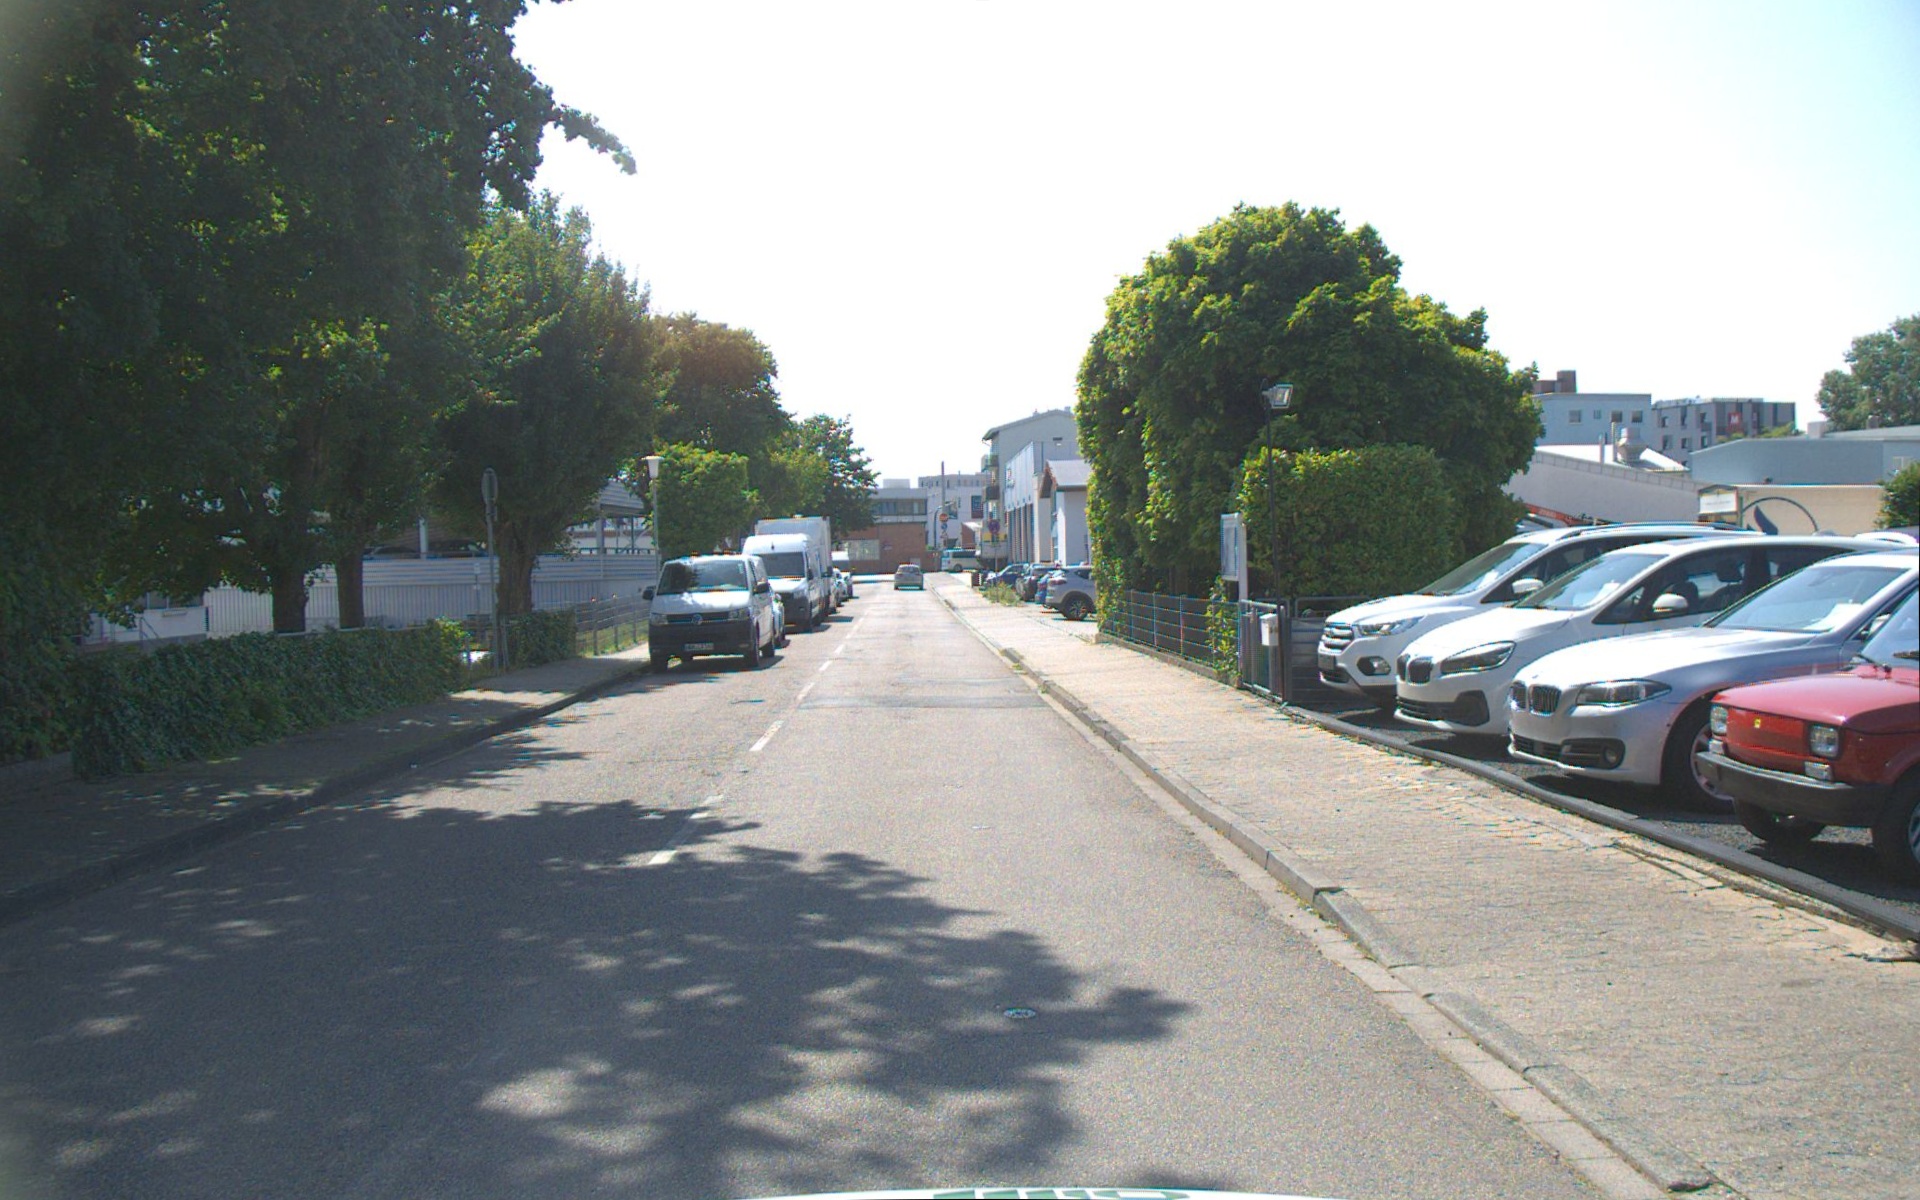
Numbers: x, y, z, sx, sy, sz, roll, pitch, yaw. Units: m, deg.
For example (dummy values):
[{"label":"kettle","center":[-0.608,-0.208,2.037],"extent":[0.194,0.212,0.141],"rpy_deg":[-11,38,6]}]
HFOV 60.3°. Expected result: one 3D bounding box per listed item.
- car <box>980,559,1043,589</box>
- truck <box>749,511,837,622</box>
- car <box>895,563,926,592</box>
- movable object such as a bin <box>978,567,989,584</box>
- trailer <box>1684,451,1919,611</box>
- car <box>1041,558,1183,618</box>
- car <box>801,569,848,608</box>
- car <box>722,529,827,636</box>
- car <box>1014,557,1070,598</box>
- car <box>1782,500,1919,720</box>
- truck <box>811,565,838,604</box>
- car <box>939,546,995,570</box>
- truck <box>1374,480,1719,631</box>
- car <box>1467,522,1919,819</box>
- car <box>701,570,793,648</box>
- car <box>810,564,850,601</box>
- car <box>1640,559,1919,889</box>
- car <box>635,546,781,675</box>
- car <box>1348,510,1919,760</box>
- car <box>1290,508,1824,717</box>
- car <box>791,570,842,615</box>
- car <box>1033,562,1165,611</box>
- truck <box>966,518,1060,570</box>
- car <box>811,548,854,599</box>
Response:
[{"label":"car","center":[2.722,-1.382,87.271],"extent":[3.187,1.423,1.673],"rpy_deg":[-2,2,-2]},{"label":"truck","center":[-5.634,-1.114,56.348],"extent":[2.633,3.424,7.123],"rpy_deg":[-3,1,-5]},{"label":"car","center":[-3.048,-1.372,101.431],"extent":[1.852,1.714,3.956],"rpy_deg":[1,1,-2]},{"label":"movable object such as a bin","center":[1.339,-1.424,95.230],"extent":[0.502,0.962,0.488],"rpy_deg":[-2,2,9]},{"label":"trailer","center":[23.965,-1.843,43.760],"extent":[8.160,3.930,3.069],"rpy_deg":[-2,1,3]},{"label":"car","center":[4.630,-0.384,50.656],"extent":[4.117,1.711,1.766],"rpy_deg":[1,1,-3]},{"label":"car","center":[-5.755,-0.501,70.626],"extent":[1.670,1.488,4.113],"rpy_deg":[-3,1,-2]},{"label":"car","center":[-5.083,-0.490,46.303],"extent":[2.124,2.640,6.919],"rpy_deg":[-3,1,-1]},{"label":"car","center":[3.434,-0.994,70.137],"extent":[1.821,1.595,4.949],"rpy_deg":[-2,2,-3]},{"label":"car","center":[9.212,0.071,14.538],"extent":[1.954,1.892,3.787],"rpy_deg":[-1,0,-3]},{"label":"truck","center":[-6.250,-0.746,76.387],"extent":[1.116,1.650,3.139],"rpy_deg":[-4,2,-4]},{"label":"car","center":[0.602,-3.726,146.791],"extent":[4.588,1.991,1.904],"rpy_deg":[-3,2,-21]},{"label":"truck","center":[15.478,-1.182,44.085],"extent":[8.105,3.674,2.954],"rpy_deg":[-2,1,0]},{"label":"car","center":[5.699,0.301,10.440],"extent":[4.321,1.523,1.894],"rpy_deg":[-4,0,-8]},{"label":"car","center":[-4.769,0.165,37.504],"extent":[1.680,1.570,4.398],"rpy_deg":[-4,1,-3]},{"label":"car","center":[-6.301,-0.852,79.995],"extent":[1.672,1.652,3.968],"rpy_deg":[-4,1,-7]},{"label":"car","center":[5.333,0.458,7.926],"extent":[3.479,1.358,1.557],"rpy_deg":[-3,0,-4]},{"label":"car","center":[-4.510,0.135,30.335],"extent":[1.932,2.048,5.055],"rpy_deg":[-4,1,-2]},{"label":"car","center":[5.524,0.215,13.098],"extent":[4.321,1.554,1.894],"rpy_deg":[-4,0,-8]},{"label":"car","center":[5.491,0.085,15.533],"extent":[4.316,1.682,1.842],"rpy_deg":[-2,1,-5]},{"label":"car","center":[-5.434,-0.324,63.071],"extent":[1.706,1.547,4.308],"rpy_deg":[-2,2,-2]},{"label":"car","center":[4.726,-0.475,56.788],"extent":[4.266,1.466,1.891],"rpy_deg":[-2,1,-3]},{"label":"truck","center":[4.401,-4.679,138.511],"extent":[7.224,3.707,2.763],"rpy_deg":[-5,2,-8]},{"label":"car","center":[-6.524,-1.393,85.156],"extent":[1.966,2.406,5.226],"rpy_deg":[-5,2,-4]}]
